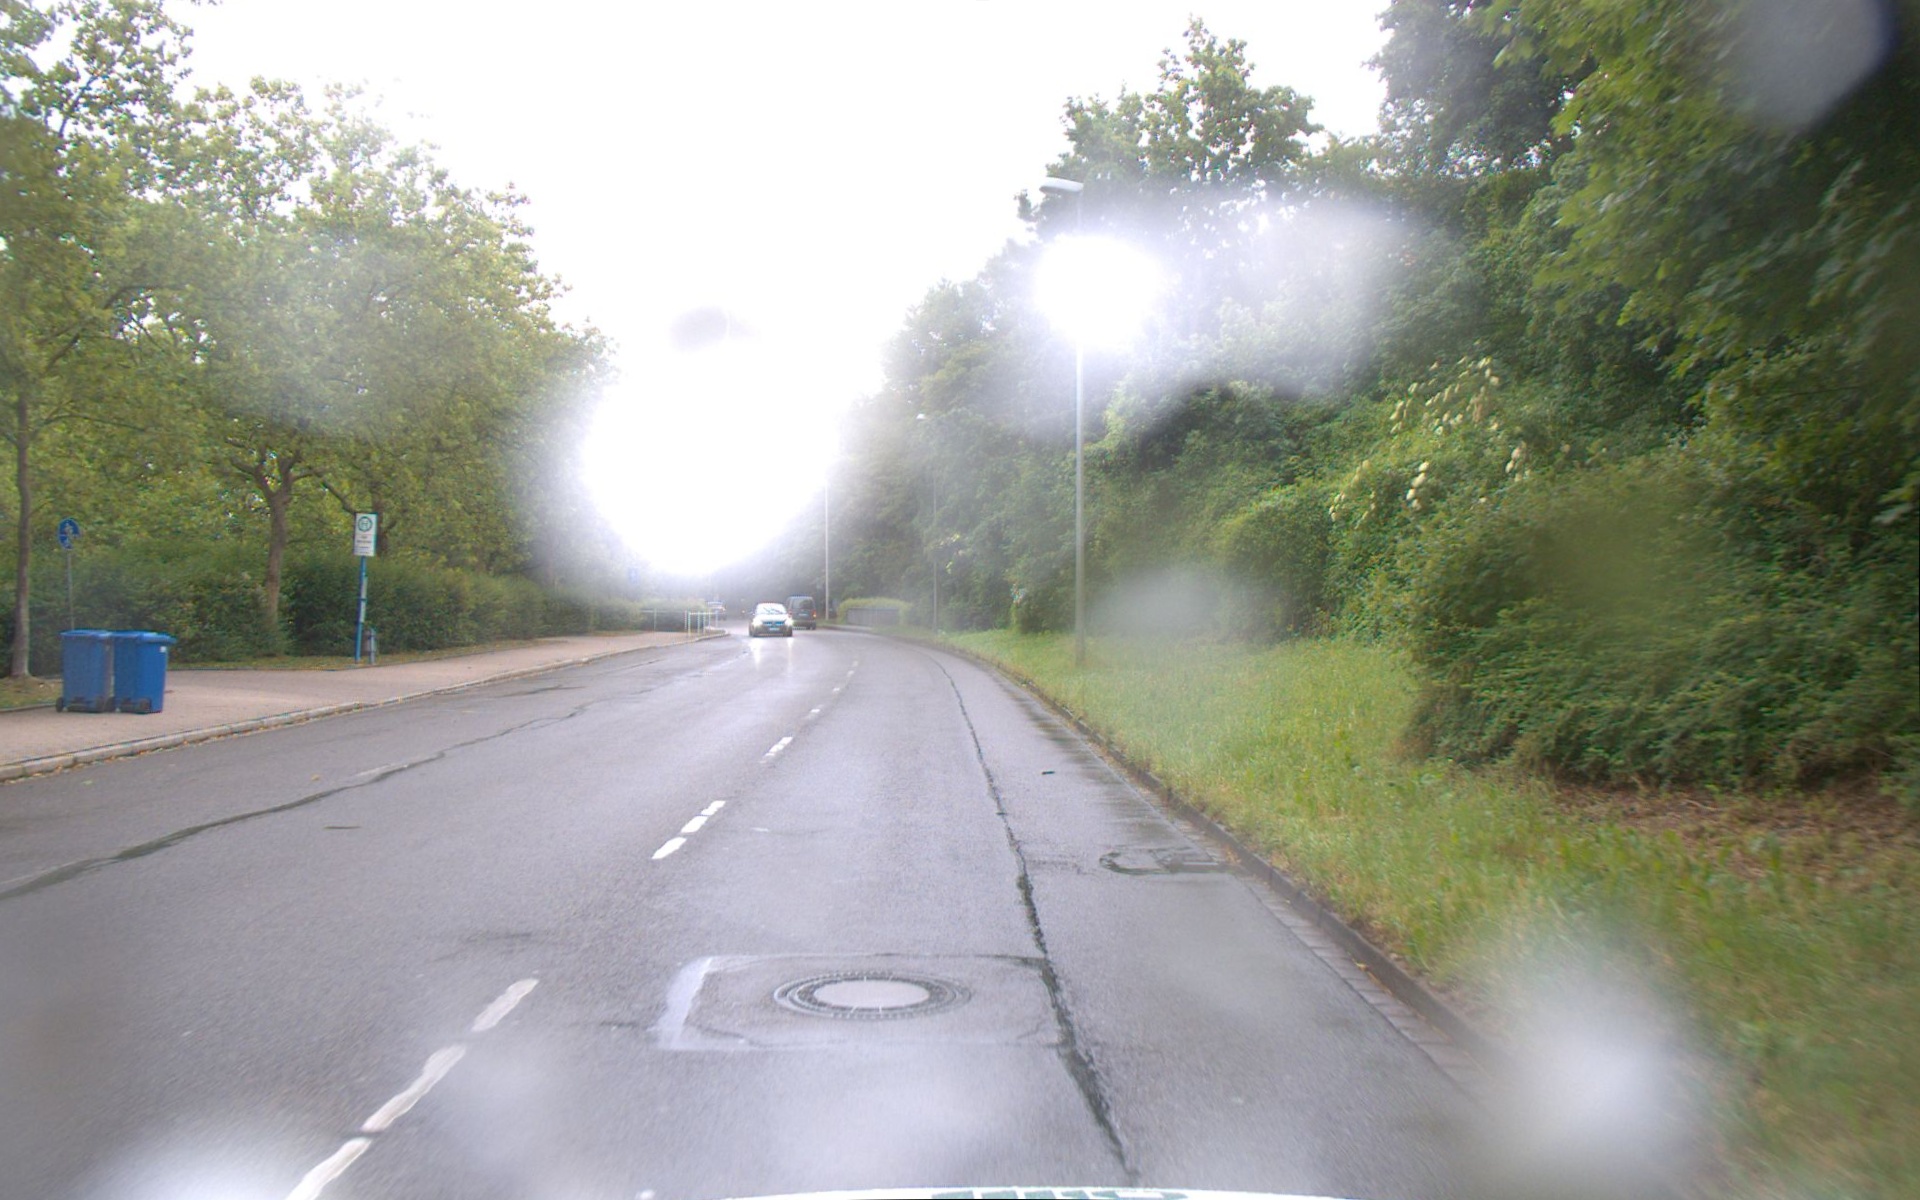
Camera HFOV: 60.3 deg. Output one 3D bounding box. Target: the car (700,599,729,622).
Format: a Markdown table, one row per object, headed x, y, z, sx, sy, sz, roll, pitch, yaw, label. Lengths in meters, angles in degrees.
| x | y | z | sx | sy | sz | roll | pitch | yaw | label |
| --- | --- | --- | --- | --- | --- | --- | --- | --- | --- |
| -20.020 | 0.855 | 134.882 | 1.959 | 1.847 | 3.986 | 2 | -1 | -13 | car |

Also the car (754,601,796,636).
| x | y | z | sx | sy | sz | roll | pitch | yaw | label |
| --- | --- | --- | --- | --- | --- | --- | --- | --- | --- |
| -8.274 | 0.833 | 74.132 | 1.791 | 1.490 | 3.995 | -1 | 0 | -6 | car |

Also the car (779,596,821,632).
| x | y | z | sx | sy | sz | roll | pitch | yaw | label |
| --- | --- | --- | --- | --- | --- | --- | --- | --- | --- |
| -9.123 | 0.784 | 94.019 | 1.951 | 1.959 | 3.988 | 0 | 0 | -12 | car |

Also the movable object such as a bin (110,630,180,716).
| x | y | z | sx | sy | sz | roll | pitch | yaw | label |
| --- | --- | --- | --- | --- | --- | --- | --- | --- | --- |
| -11.045 | 0.984 | 22.430 | 0.555 | 1.117 | 0.672 | 3 | 0 | 0 | movable object such as a bin |

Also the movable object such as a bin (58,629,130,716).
| x | y | z | sx | sy | sz | roll | pitch | yaw | label |
| --- | --- | --- | --- | --- | --- | --- | --- | --- | --- |
| -11.633 | 0.968 | 22.229 | 0.555 | 1.117 | 0.672 | 3 | 0 | 0 | movable object such as a bin |
